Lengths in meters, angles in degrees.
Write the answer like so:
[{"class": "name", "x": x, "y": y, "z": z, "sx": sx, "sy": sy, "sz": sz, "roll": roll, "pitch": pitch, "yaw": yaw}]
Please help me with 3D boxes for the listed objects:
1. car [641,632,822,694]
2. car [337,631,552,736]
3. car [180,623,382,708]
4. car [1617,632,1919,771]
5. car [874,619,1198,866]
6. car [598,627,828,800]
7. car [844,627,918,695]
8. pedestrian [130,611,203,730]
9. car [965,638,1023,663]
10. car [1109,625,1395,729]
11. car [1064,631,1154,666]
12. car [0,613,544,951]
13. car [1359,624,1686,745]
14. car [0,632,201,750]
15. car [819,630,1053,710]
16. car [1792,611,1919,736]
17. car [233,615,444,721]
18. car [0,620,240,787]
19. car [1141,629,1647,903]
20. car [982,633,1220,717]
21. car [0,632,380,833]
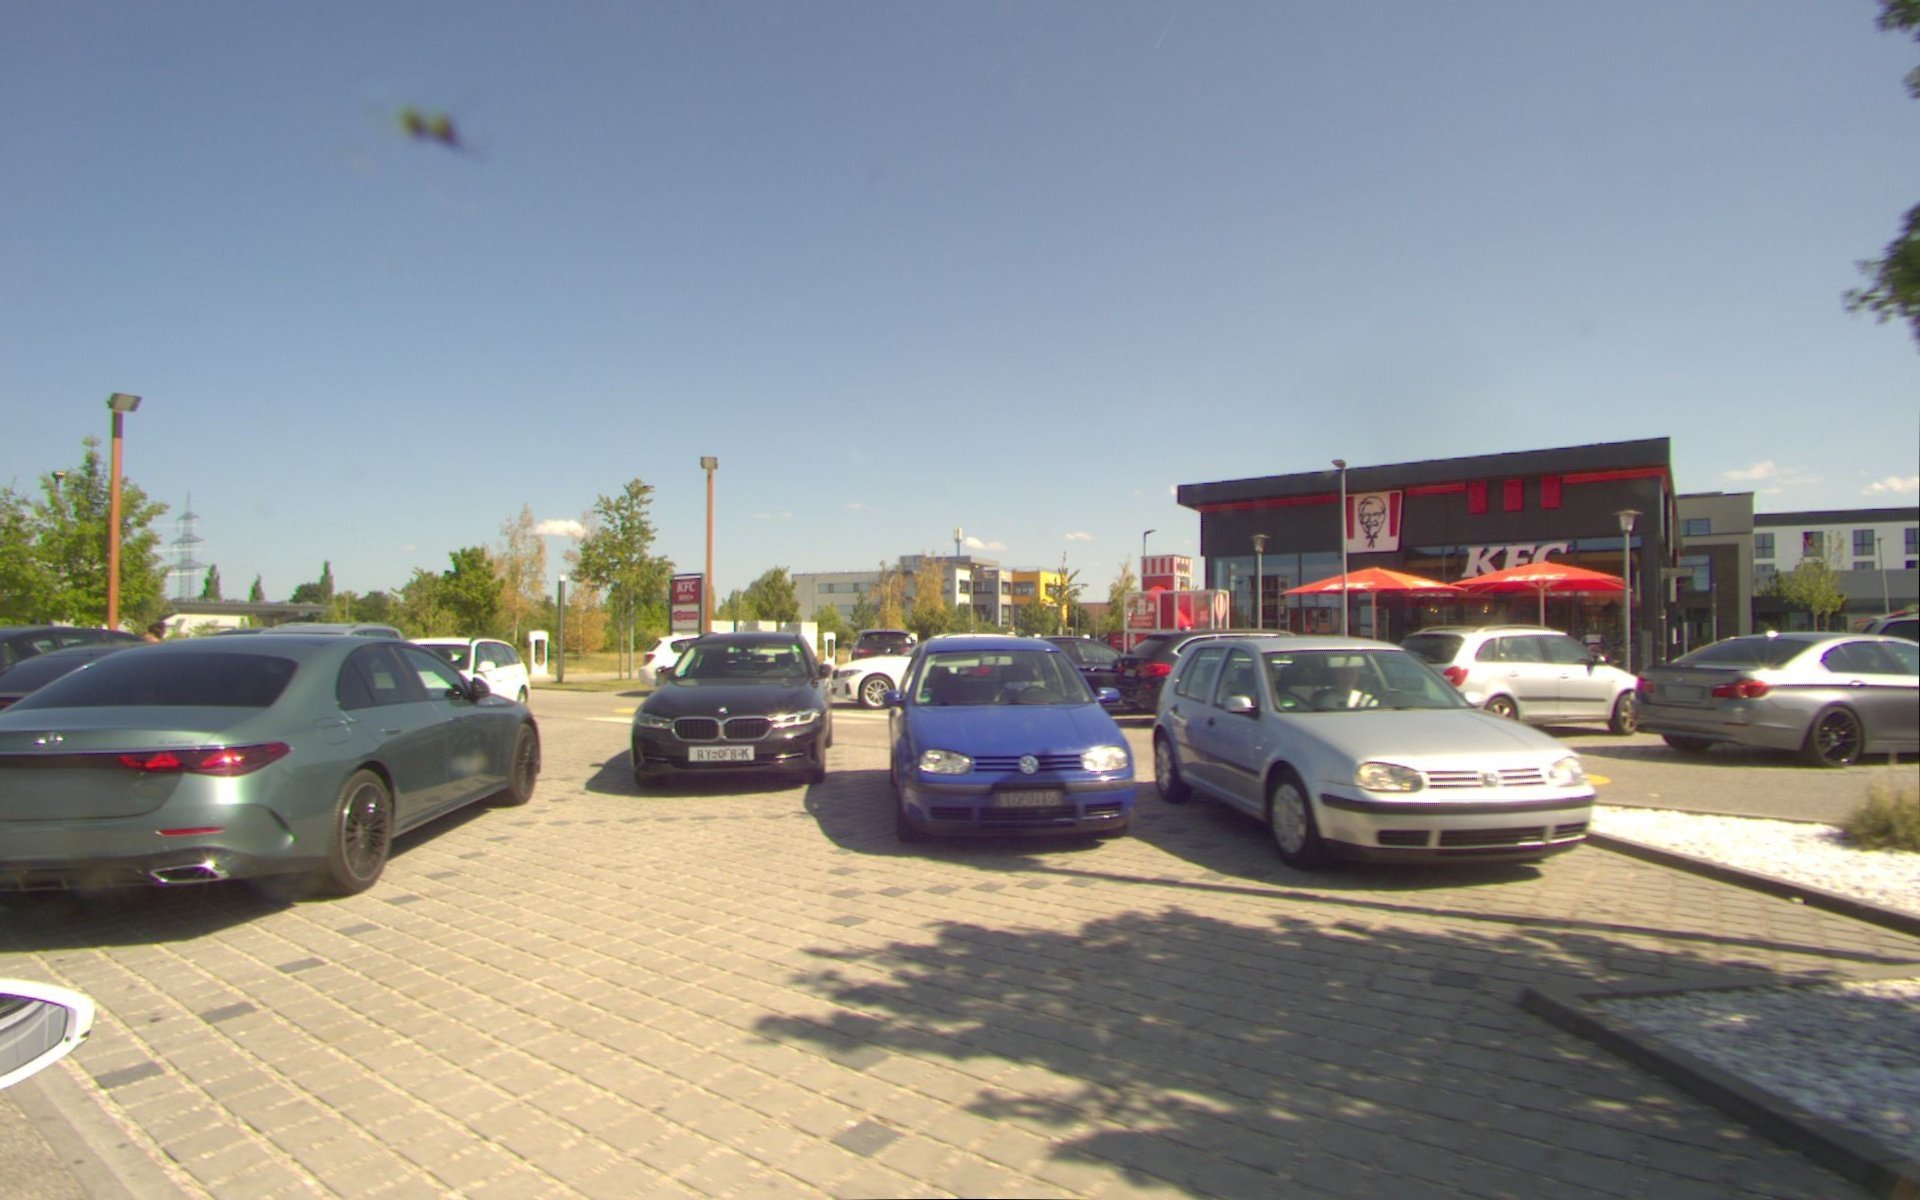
[{"class": "car", "x": -5.506, "y": 1.509, "z": 24.388, "sx": 4.108, "sy": 1.443, "sz": 1.843, "roll": 1, "pitch": -2, "yaw": -12}, {"class": "car", "x": -7.902, "y": 1.215, "z": 15.798, "sx": 1.759, "sy": 1.426, "sz": 4.082, "roll": 0, "pitch": -2, "yaw": -8}, {"class": "car", "x": -13.732, "y": 1.260, "z": 20.587, "sx": 1.860, "sy": 1.556, "sz": 4.189, "roll": 1, "pitch": -2, "yaw": -10}, {"class": "car", "x": 10.277, "y": 1.101, "z": 11.531, "sx": 4.594, "sy": 1.428, "sz": 1.712, "roll": 1, "pitch": -2, "yaw": -10}, {"class": "car", "x": 0.313, "y": 0.982, "z": 8.539, "sx": 1.946, "sy": 1.530, "sz": 4.418, "roll": 0, "pitch": -2, "yaw": -7}, {"class": "car", "x": -2.492, "y": 1.099, "z": 11.188, "sx": 1.946, "sy": 1.530, "sz": 4.418, "roll": 0, "pitch": -2, "yaw": -7}, {"class": "car", "x": -2.096, "y": 1.535, "z": 25.646, "sx": 1.723, "sy": 1.596, "sz": 4.088, "roll": 0, "pitch": -2, "yaw": -7}, {"class": "pedestrian", "x": -11.814, "y": 1.043, "z": 14.925, "sx": 0.599, "sy": 1.735, "sz": 0.564, "roll": 0, "pitch": -1, "yaw": 0}, {"class": "car", "x": 2.228, "y": 3.201, "z": 64.036, "sx": 1.924, "sy": 1.588, "sz": 3.979, "roll": -1, "pitch": -3, "yaw": 33}, {"class": "car", "x": 4.420, "y": 1.166, "z": 15.625, "sx": 3.922, "sy": 1.508, "sz": 1.822, "roll": 0, "pitch": -2, "yaw": 1}, {"class": "car", "x": 7.543, "y": 2.444, "z": 50.874, "sx": 4.328, "sy": 1.707, "sz": 1.631, "roll": -2, "pitch": -2, "yaw": 37}, {"class": "car", "x": -4.477, "y": 0.918, "z": 6.824, "sx": 1.851, "sy": 1.530, "sz": 4.543, "roll": 0, "pitch": -2, "yaw": -7}, {"class": "car", "x": 8.033, "y": 1.149, "z": 14.322, "sx": 4.280, "sy": 1.530, "sz": 1.775, "roll": 1, "pitch": -2, "yaw": -21}, {"class": "car", "x": -13.084, "y": 1.185, "z": 13.916, "sx": 1.800, "sy": 1.465, "sz": 4.663, "roll": 0, "pitch": -2, "yaw": -5}, {"class": "car", "x": -0.529, "y": 1.365, "z": 20.068, "sx": 4.390, "sy": 1.490, "sz": 1.913, "roll": 1, "pitch": -2, "yaw": -13}, {"class": "car", "x": 14.932, "y": 1.060, "z": 14.514, "sx": 4.314, "sy": 1.772, "sz": 2.058, "roll": -2, "pitch": -3, "yaw": 39}, {"class": "car", "x": -10.847, "y": 1.135, "z": 17.843, "sx": 1.715, "sy": 1.661, "sz": 4.066, "roll": 0, "pitch": -2, "yaw": -9}, {"class": "car", "x": -10.359, "y": 1.074, "z": 11.539, "sx": 1.778, "sy": 1.613, "sz": 3.999, "roll": 0, "pitch": -2, "yaw": -10}, {"class": "car", "x": 2.708, "y": 0.951, "z": 7.325, "sx": 1.674, "sy": 1.444, "sz": 3.904, "roll": 0, "pitch": -2, "yaw": -6}, {"class": "car", "x": 2.477, "y": 1.323, "z": 18.138, "sx": 3.924, "sy": 1.420, "sz": 1.821, "roll": 0, "pitch": -2, "yaw": -8}, {"class": "car", "x": -7.349, "y": 1.047, "z": 9.309, "sx": 1.793, "sy": 1.467, "sz": 4.077, "roll": 0, "pitch": -2, "yaw": -5}]
